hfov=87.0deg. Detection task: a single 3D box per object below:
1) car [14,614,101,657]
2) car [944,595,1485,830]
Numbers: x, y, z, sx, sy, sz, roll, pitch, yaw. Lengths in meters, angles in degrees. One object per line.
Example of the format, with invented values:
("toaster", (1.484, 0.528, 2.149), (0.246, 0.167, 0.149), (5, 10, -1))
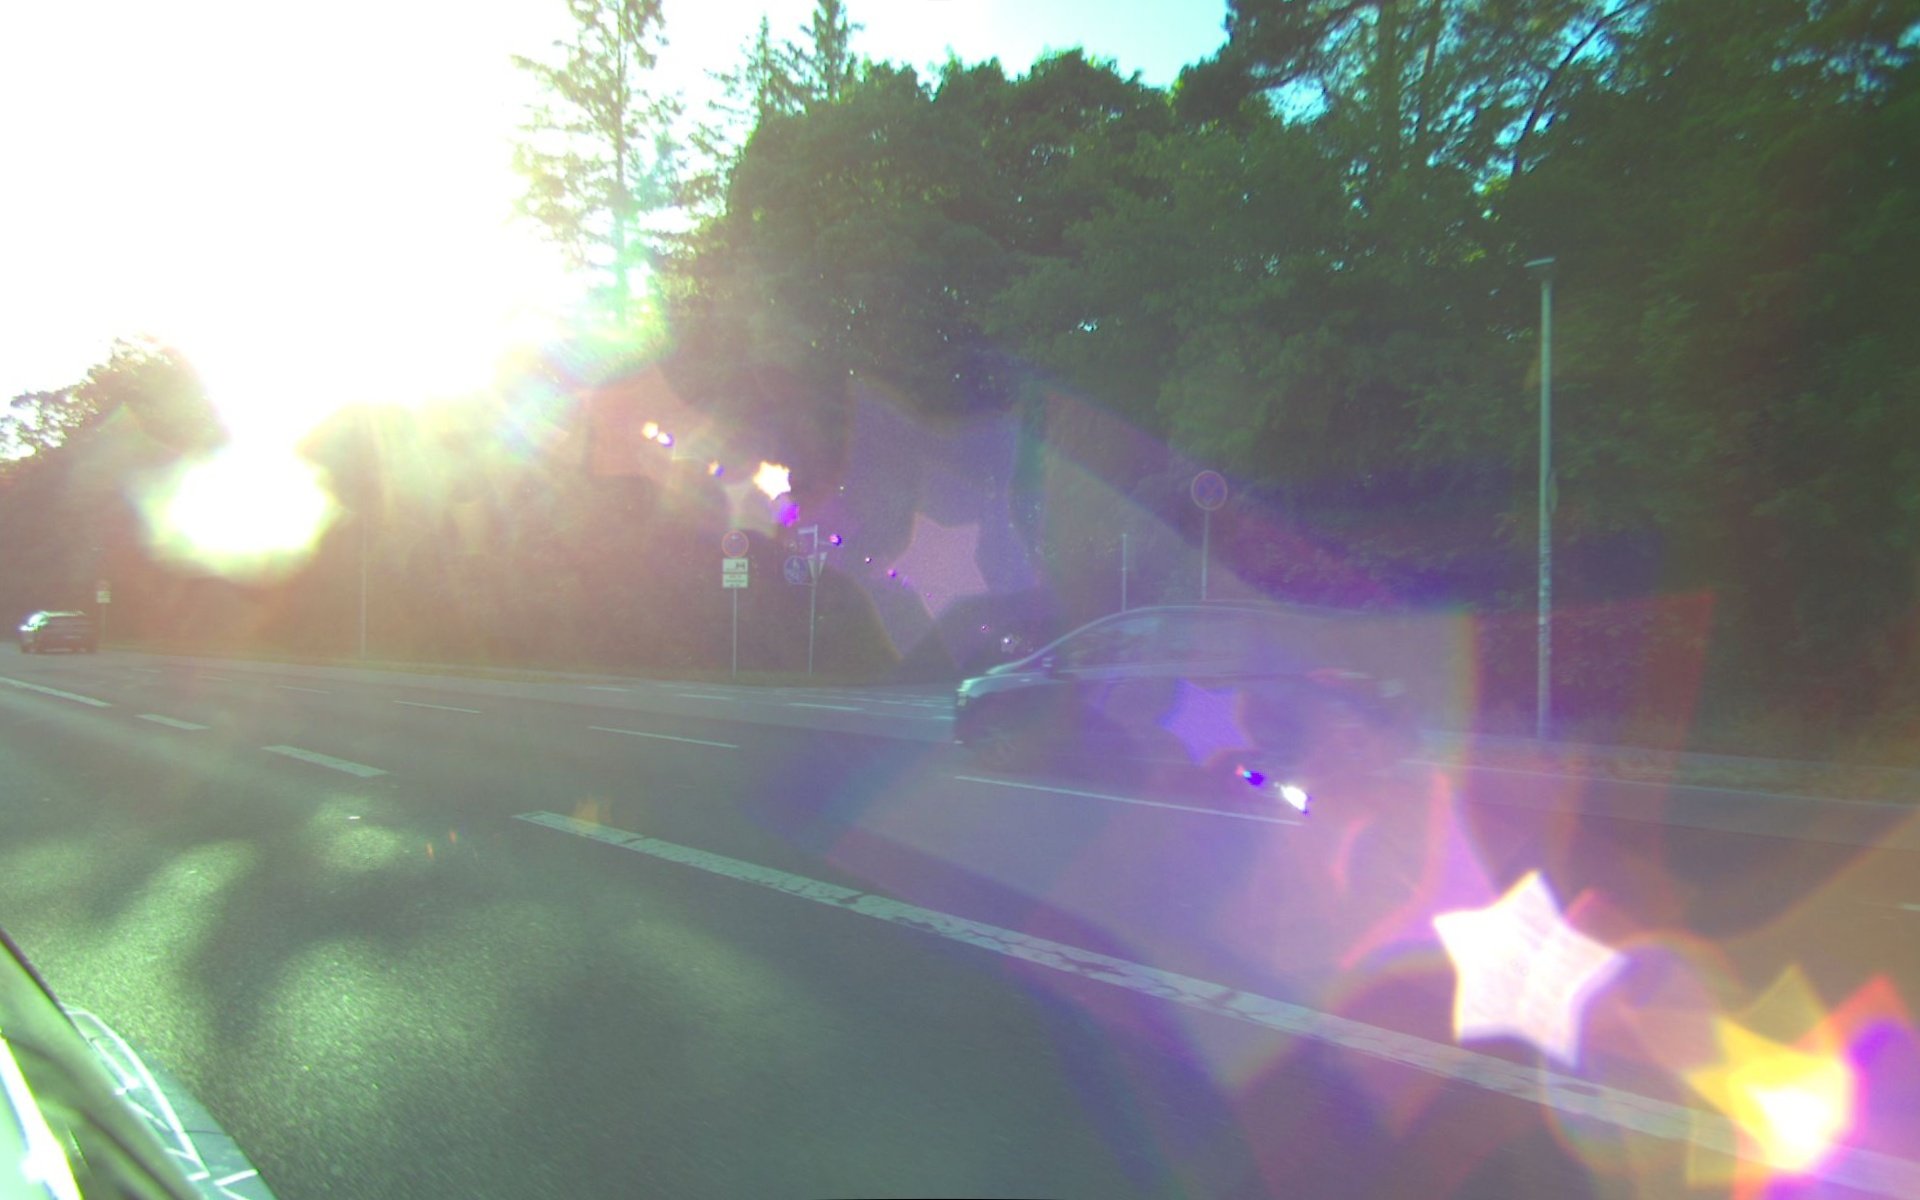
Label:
("car", (-35.576, 1.367, 39.870), (4.444, 1.623, 1.877), (-1, -1, 39))
("car", (1.949, 0.742, 8.400), (3.996, 1.468, 1.721), (-1, 1, 40))
